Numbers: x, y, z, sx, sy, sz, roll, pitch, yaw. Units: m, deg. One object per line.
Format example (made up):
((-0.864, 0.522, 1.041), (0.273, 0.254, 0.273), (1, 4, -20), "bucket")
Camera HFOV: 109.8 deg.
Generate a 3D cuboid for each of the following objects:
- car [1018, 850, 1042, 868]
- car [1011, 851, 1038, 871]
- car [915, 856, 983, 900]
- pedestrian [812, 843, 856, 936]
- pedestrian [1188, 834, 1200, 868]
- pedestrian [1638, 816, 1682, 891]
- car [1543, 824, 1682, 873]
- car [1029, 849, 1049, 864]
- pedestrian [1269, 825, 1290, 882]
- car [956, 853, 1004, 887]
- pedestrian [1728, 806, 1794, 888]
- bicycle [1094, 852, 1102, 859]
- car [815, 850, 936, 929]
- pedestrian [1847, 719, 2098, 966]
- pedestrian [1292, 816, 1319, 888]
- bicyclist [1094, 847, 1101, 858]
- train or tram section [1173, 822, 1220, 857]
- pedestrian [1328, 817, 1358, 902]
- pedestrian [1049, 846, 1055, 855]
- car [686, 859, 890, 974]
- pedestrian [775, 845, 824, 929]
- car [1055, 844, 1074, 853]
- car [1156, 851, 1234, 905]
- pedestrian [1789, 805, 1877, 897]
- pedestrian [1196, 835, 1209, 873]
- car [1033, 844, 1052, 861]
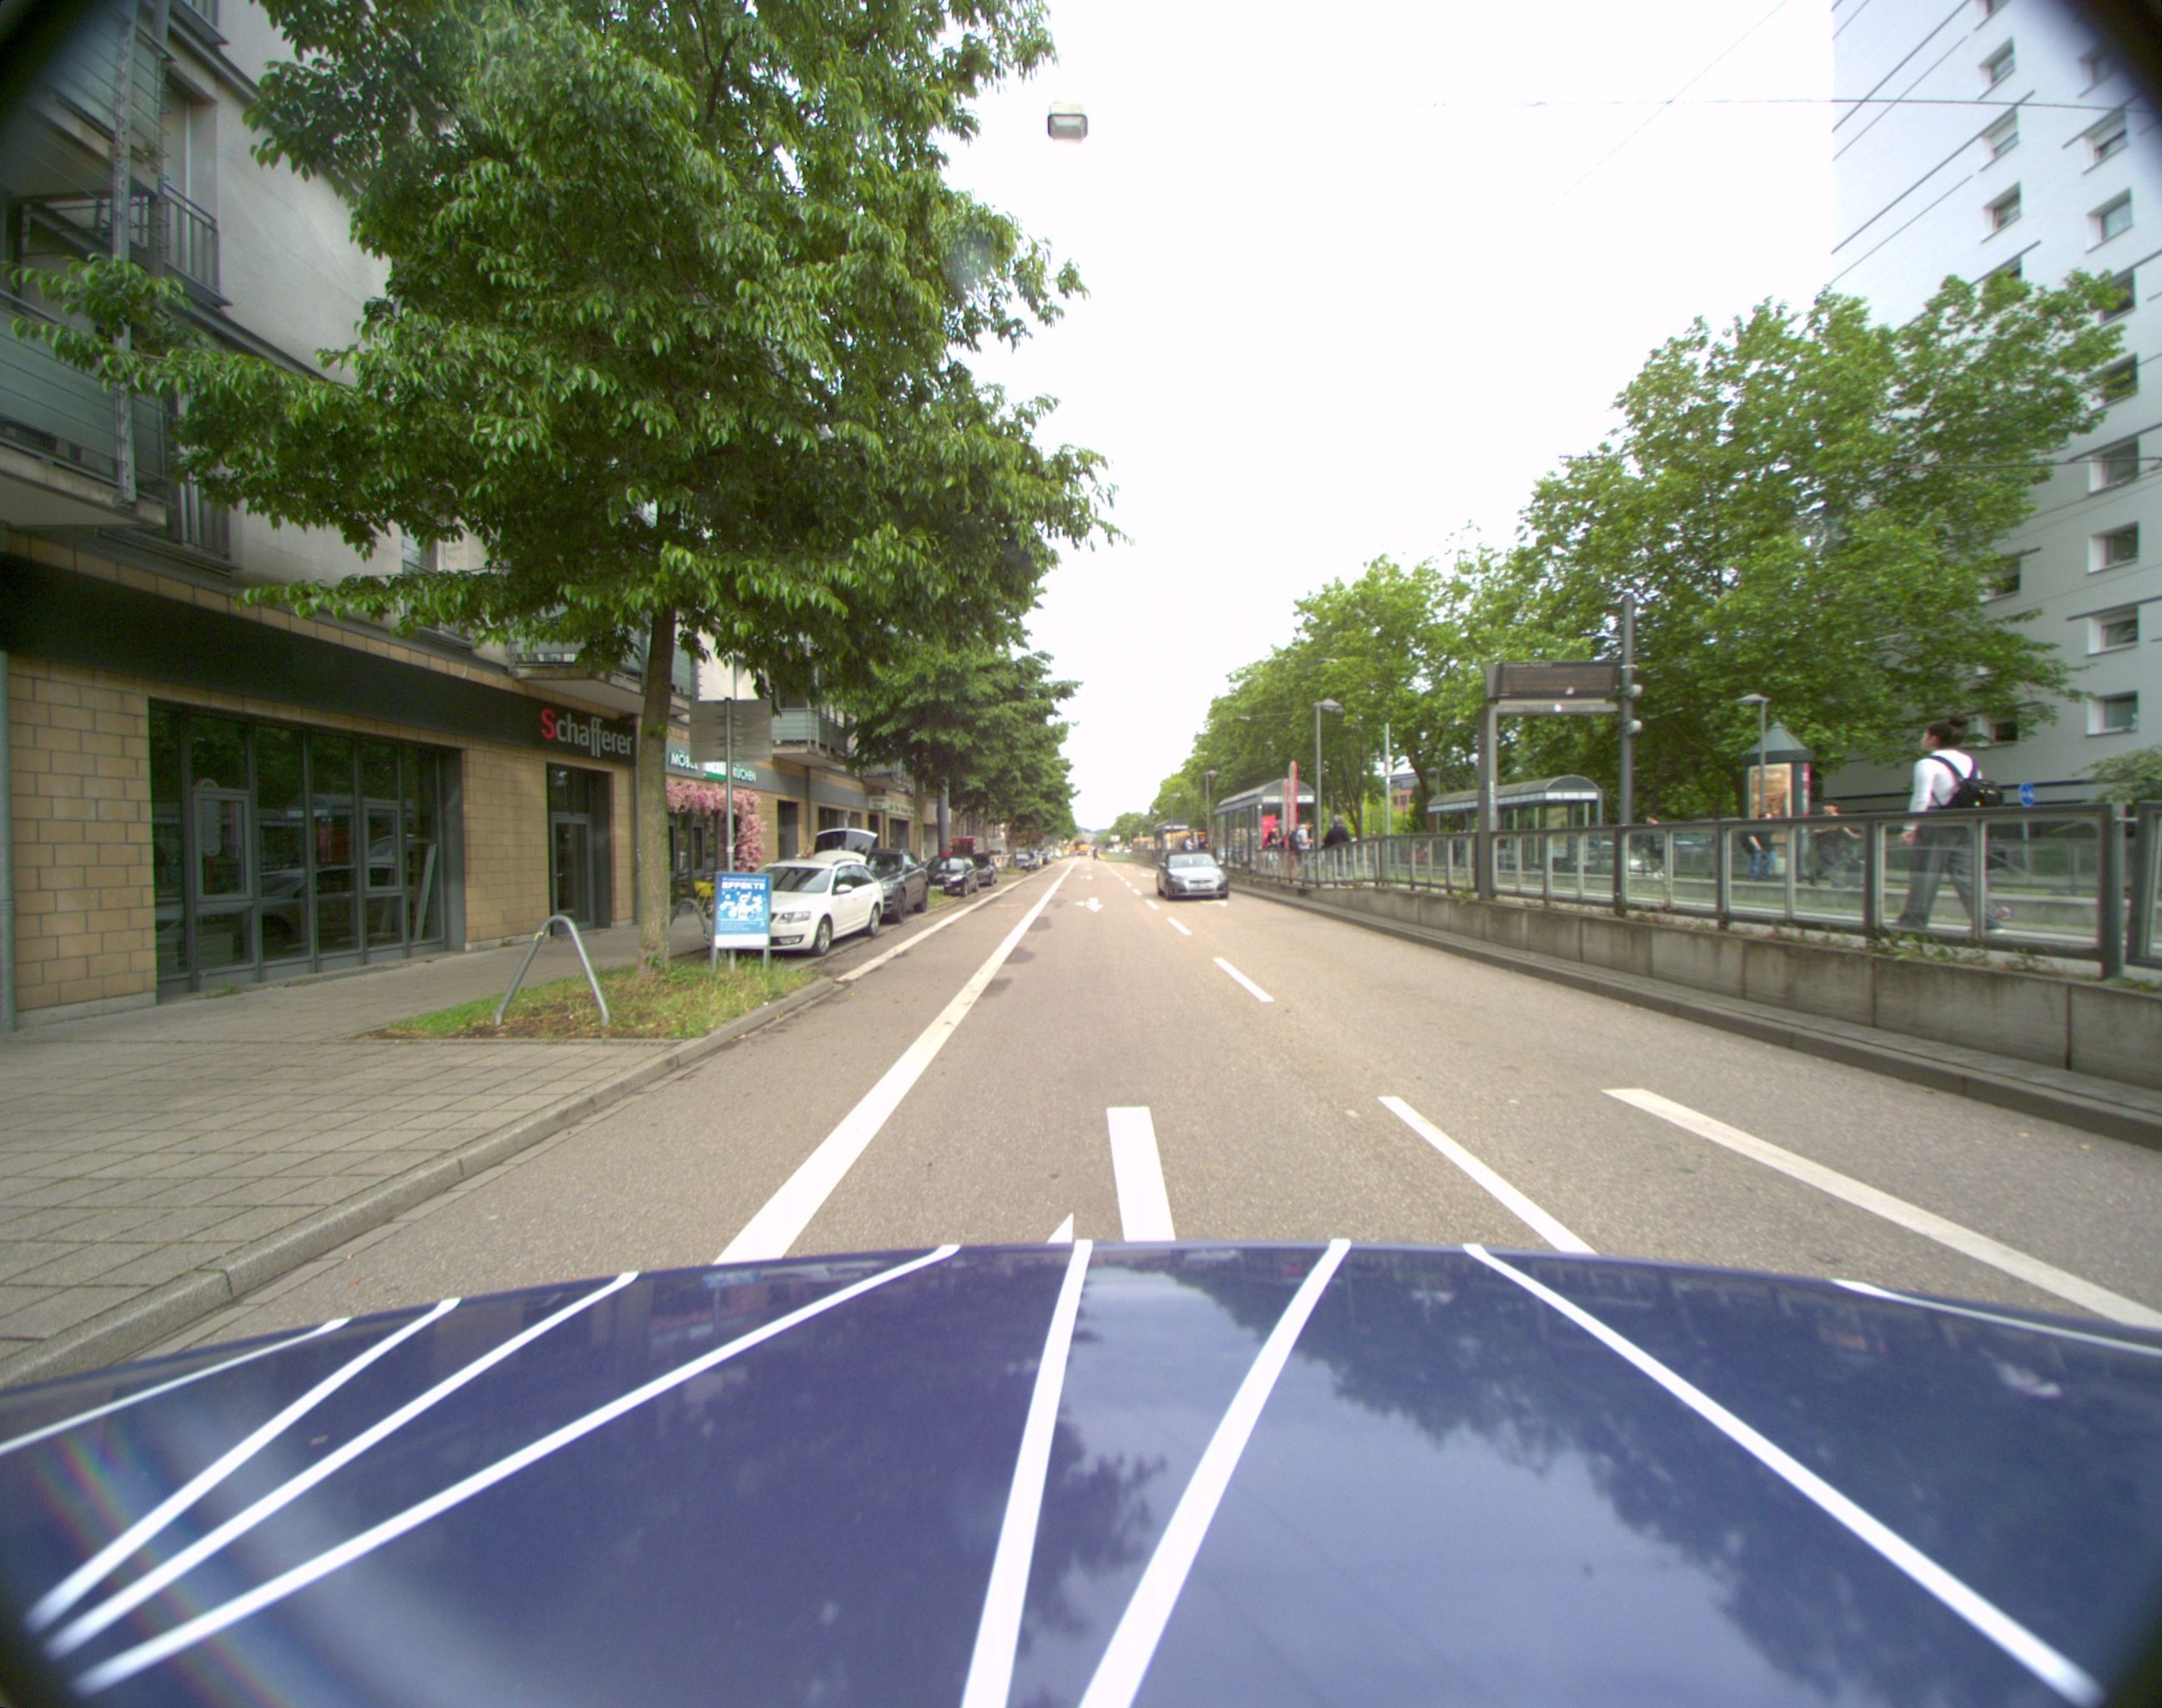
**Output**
((-4.125, 0.368, 62.155), (1.612, 1.393, 3.667), (2, 1, 1), "car")
((-4.164, 0.483, 56.236), (1.612, 1.393, 3.667), (2, 1, 1), "car")
((-4.636, 0.797, 27.267), (1.612, 1.370, 4.167), (2, 1, 1), "car")
((-5.073, 0.718, 15.649), (0.656, 1.873, 0.599), (-1, 1, 1), "pedestrian")
((6.140, -0.176, 41.331), (0.530, 1.794, 0.606), (-2, 1, 14), "pedestrian")
((15.232, -0.026, 19.988), (0.699, 1.919, 0.554), (-2, 1, 1), "pedestrian")
((18.916, -0.209, 27.276), (1.934, 1.543, 3.997), (-2, 1, -5), "car")
((-3.970, 0.212, 72.442), (1.612, 1.393, 3.667), (2, 1, 1), "car")
((6.313, -0.026, 24.190), (0.474, 1.794, 0.606), (-2, 1, 26), "pedestrian")
((-4.556, 0.687, 34.728), (1.612, 1.393, 3.667), (2, 1, 1), "car")
((15.718, -0.170, 17.574), (0.882, 1.823, 0.666), (-2, 1, 1), "pedestrian")
((2.202, 0.194, 100.876), (0.491, 0.925, 1.779), (-3, 1, -18), "bicycle")
((-4.715, 0.745, 17.994), (1.738, 1.601, 3.798), (2, 1, 1), "car")
((6.570, -0.079, 5.667), (0.720, 1.661, 0.979), (-2, 1, 3), "pedestrian")
((5.749, -0.062, 19.474), (0.475, 1.794, 0.605), (-2, 1, 5), "pedestrian")
((2.221, -0.199, 100.838), (0.727, 1.458, 0.811), (-1, 1, -19), "bicyclist")
((13.675, -1.653, 91.421), (3.338, 3.731, 15.201), (-2, 1, 1), "train or tram section")
((5.707, 0.121, 16.571), (0.521, 1.794, 0.605), (-2, 1, 13), "pedestrian")
((-6.461, -0.819, 170.914), (1.216, 2.002, 1.142), (-1, 1, 1), "pedestrian")
((-4.718, 0.904, 12.992), (1.738, 1.512, 4.308), (2, 1, 1), "car")
((-5.813, 0.666, 15.720), (0.737, 1.707, 0.618), (0, 1, 8), "pedestrian")
((-3.910, -1.218, 184.028), (4.190, 2.002, 2.002), (-2, 1, 15), "car")
((3.307, 0.656, 22.748), (1.716, 1.379, 4.099), (-2, 1, 1), "car")
((14.961, -0.061, 15.136), (0.882, 1.746, 0.850), (-2, 1, 1), "pedestrian")
((5.848, 0.001, 36.514), (0.530, 1.794, 0.606), (-2, 1, 14), "pedestrian")
((-3.964, -0.137, 78.212), (1.612, 1.674, 3.806), (2, 1, 1), "car")
